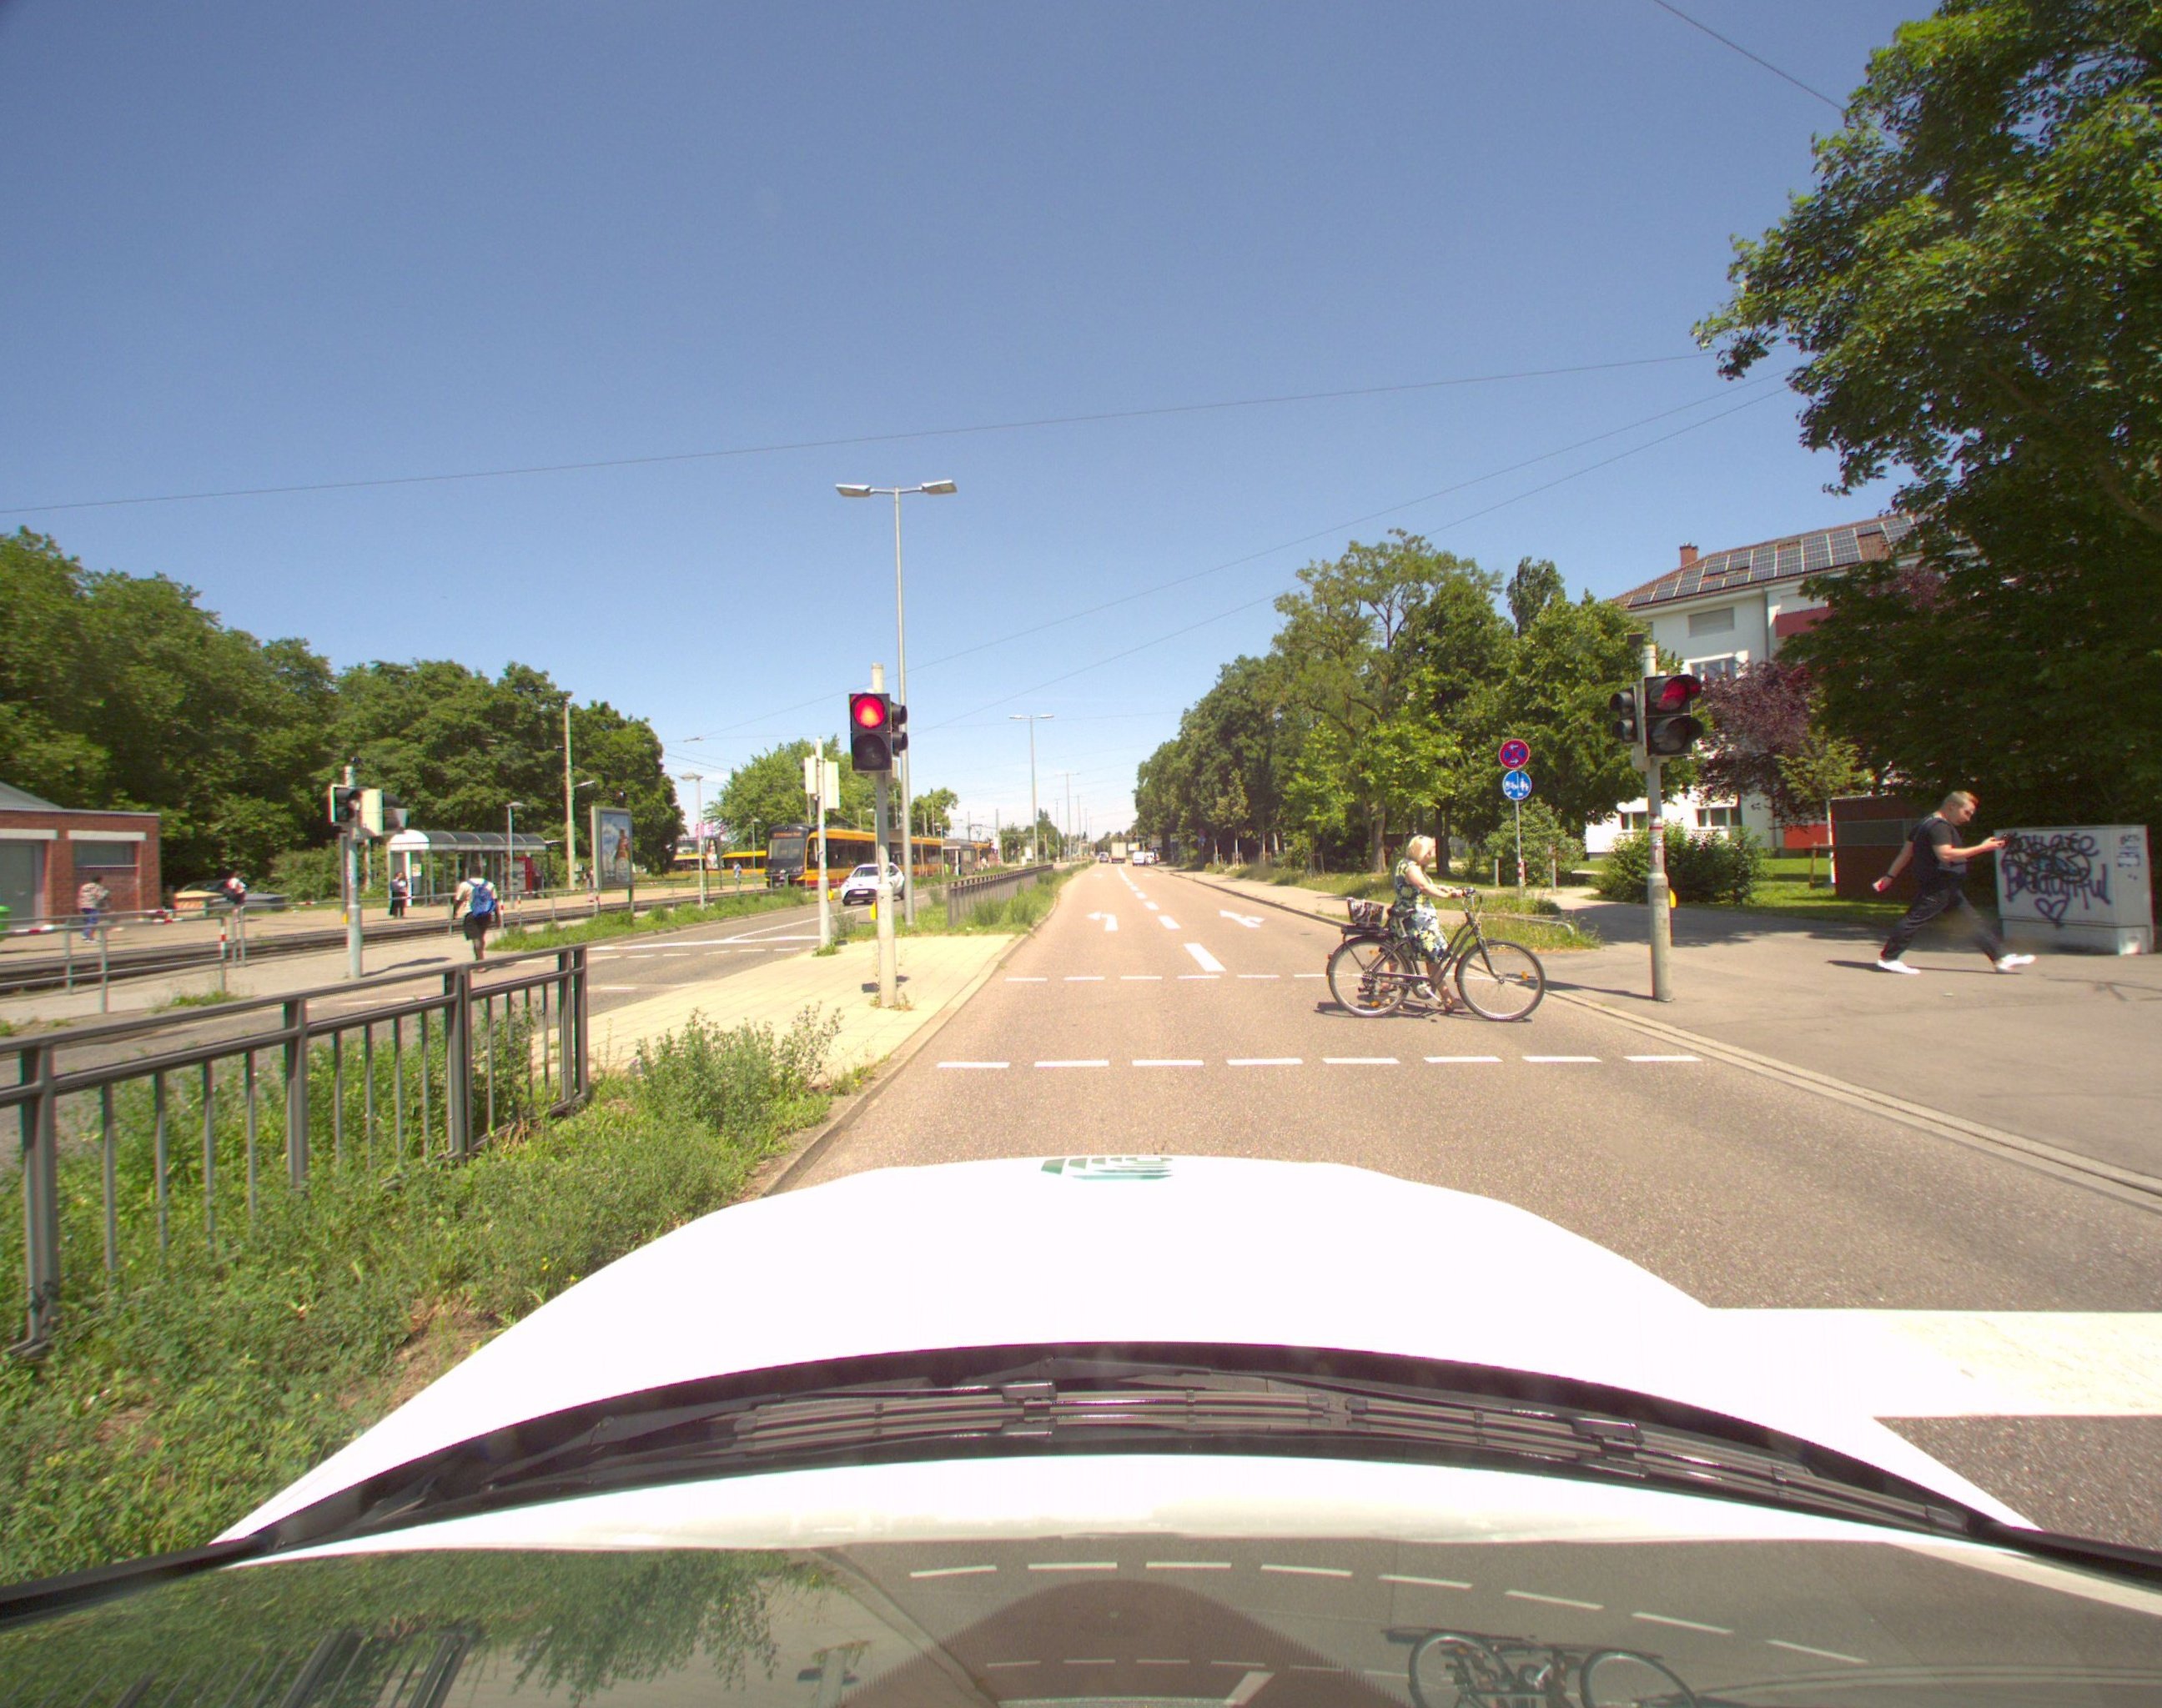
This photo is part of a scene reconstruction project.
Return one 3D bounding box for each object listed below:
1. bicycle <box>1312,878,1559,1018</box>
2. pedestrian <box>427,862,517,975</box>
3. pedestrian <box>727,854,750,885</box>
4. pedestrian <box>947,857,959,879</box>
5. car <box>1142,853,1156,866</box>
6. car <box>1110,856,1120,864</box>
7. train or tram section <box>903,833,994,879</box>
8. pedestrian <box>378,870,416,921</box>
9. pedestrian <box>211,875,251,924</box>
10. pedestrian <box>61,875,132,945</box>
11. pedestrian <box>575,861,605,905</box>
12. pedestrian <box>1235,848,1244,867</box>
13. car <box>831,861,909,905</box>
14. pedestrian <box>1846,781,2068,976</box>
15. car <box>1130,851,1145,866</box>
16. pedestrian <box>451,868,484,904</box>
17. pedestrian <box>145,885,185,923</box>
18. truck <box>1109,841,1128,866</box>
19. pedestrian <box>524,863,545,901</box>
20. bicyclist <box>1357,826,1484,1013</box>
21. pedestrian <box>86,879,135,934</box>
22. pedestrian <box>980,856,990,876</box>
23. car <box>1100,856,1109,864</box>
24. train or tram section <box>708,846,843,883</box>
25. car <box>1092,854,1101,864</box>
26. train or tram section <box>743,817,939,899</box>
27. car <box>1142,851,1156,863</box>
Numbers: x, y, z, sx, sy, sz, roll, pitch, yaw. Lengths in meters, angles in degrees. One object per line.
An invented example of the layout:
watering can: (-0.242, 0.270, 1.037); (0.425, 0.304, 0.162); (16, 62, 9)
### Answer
bicycle: (3.117, 0.823, 7.282); (1.948, 1.161, 0.542); (-1, 1, 5)
pedestrian: (-10.160, 1.056, 13.614); (0.837, 1.777, 0.720); (-3, 2, 1)
pedestrian: (-22.422, 1.006, 53.307); (0.977, 2.013, 1.021); (-2, 0, 1)
pedestrian: (-10.980, 1.200, 69.738); (0.783, 1.868, 0.818); (-2, 0, 1)
car: (9.384, 0.721, 112.367); (1.773, 1.668, 4.002); (-2, 0, 2)
car: (6.488, 1.148, 153.697); (1.804, 1.464, 4.002); (-2, 0, 2)
train or tram section: (-12.928, 0.194, 85.007); (2.920, 3.789, 33.100); (-2, 0, 2)
pedestrian: (-21.544, 1.288, 25.672); (0.635, 1.555, 0.691); (-2, 0, -11)
pedestrian: (-25.874, 1.371, 24.803); (0.634, 1.456, 0.585); (-2, 0, 16)
pedestrian: (-23.492, 1.323, 19.439); (0.669, 1.590, 0.808); (-2, 0, 1)
pedestrian: (-21.218, 1.248, 35.193); (0.715, 1.777, 0.843); (3, 2, 1)
pedestrian: (12.340, 0.275, 63.298); (0.600, 1.438, 0.557); (-2, 0, 8)
car: (-7.984, 1.076, 31.199); (1.838, 1.494, 3.793); (-2, 0, 2)
pedestrian: (8.591, 0.253, 8.068); (1.174, 1.778, 0.845); (-4, -2, 25)
car: (7.297, 0.564, 105.547); (1.773, 1.903, 4.002); (-2, 0, 2)
pedestrian: (-26.285, 1.369, 34.905); (0.836, 1.511, 0.723); (-2, 0, 12)
pedestrian: (-28.171, 1.543, 25.043); (0.634, 1.124, 0.572); (-2, 0, 16)
truck: (6.778, -0.079, 146.201); (3.193, 4.359, 6.563); (-2, 0, 2)
pedestrian: (-26.017, 1.324, 38.761); (0.725, 1.800, 0.835); (-1, -1, -41)
bicyclist: (3.141, 0.585, 7.599); (0.952, 1.666, 0.581); (-1, 1, 5)
pedestrian: (-26.682, 1.434, 22.392); (0.636, 1.480, 0.570); (-2, 0, 1)
pedestrian: (-9.911, 1.239, 84.075); (0.812, 2.013, 0.939); (-2, 0, 1)
car: (4.555, 1.188, 158.098); (1.804, 1.464, 4.002); (-2, 0, 2)
train or tram section: (-36.696, 1.329, 97.315); (18.269, 3.931, 3.245); (-2, 0, 26)
car: (3.328, 1.100, 175.340); (1.986, 2.013, 4.002); (-2, 0, 2)
train or tram section: (-13.950, 0.192, 53.459); (2.946, 3.749, 30.044); (-2, 0, 2)
car: (9.908, 0.463, 118.770); (1.773, 1.668, 4.002); (-2, 0, 2)
